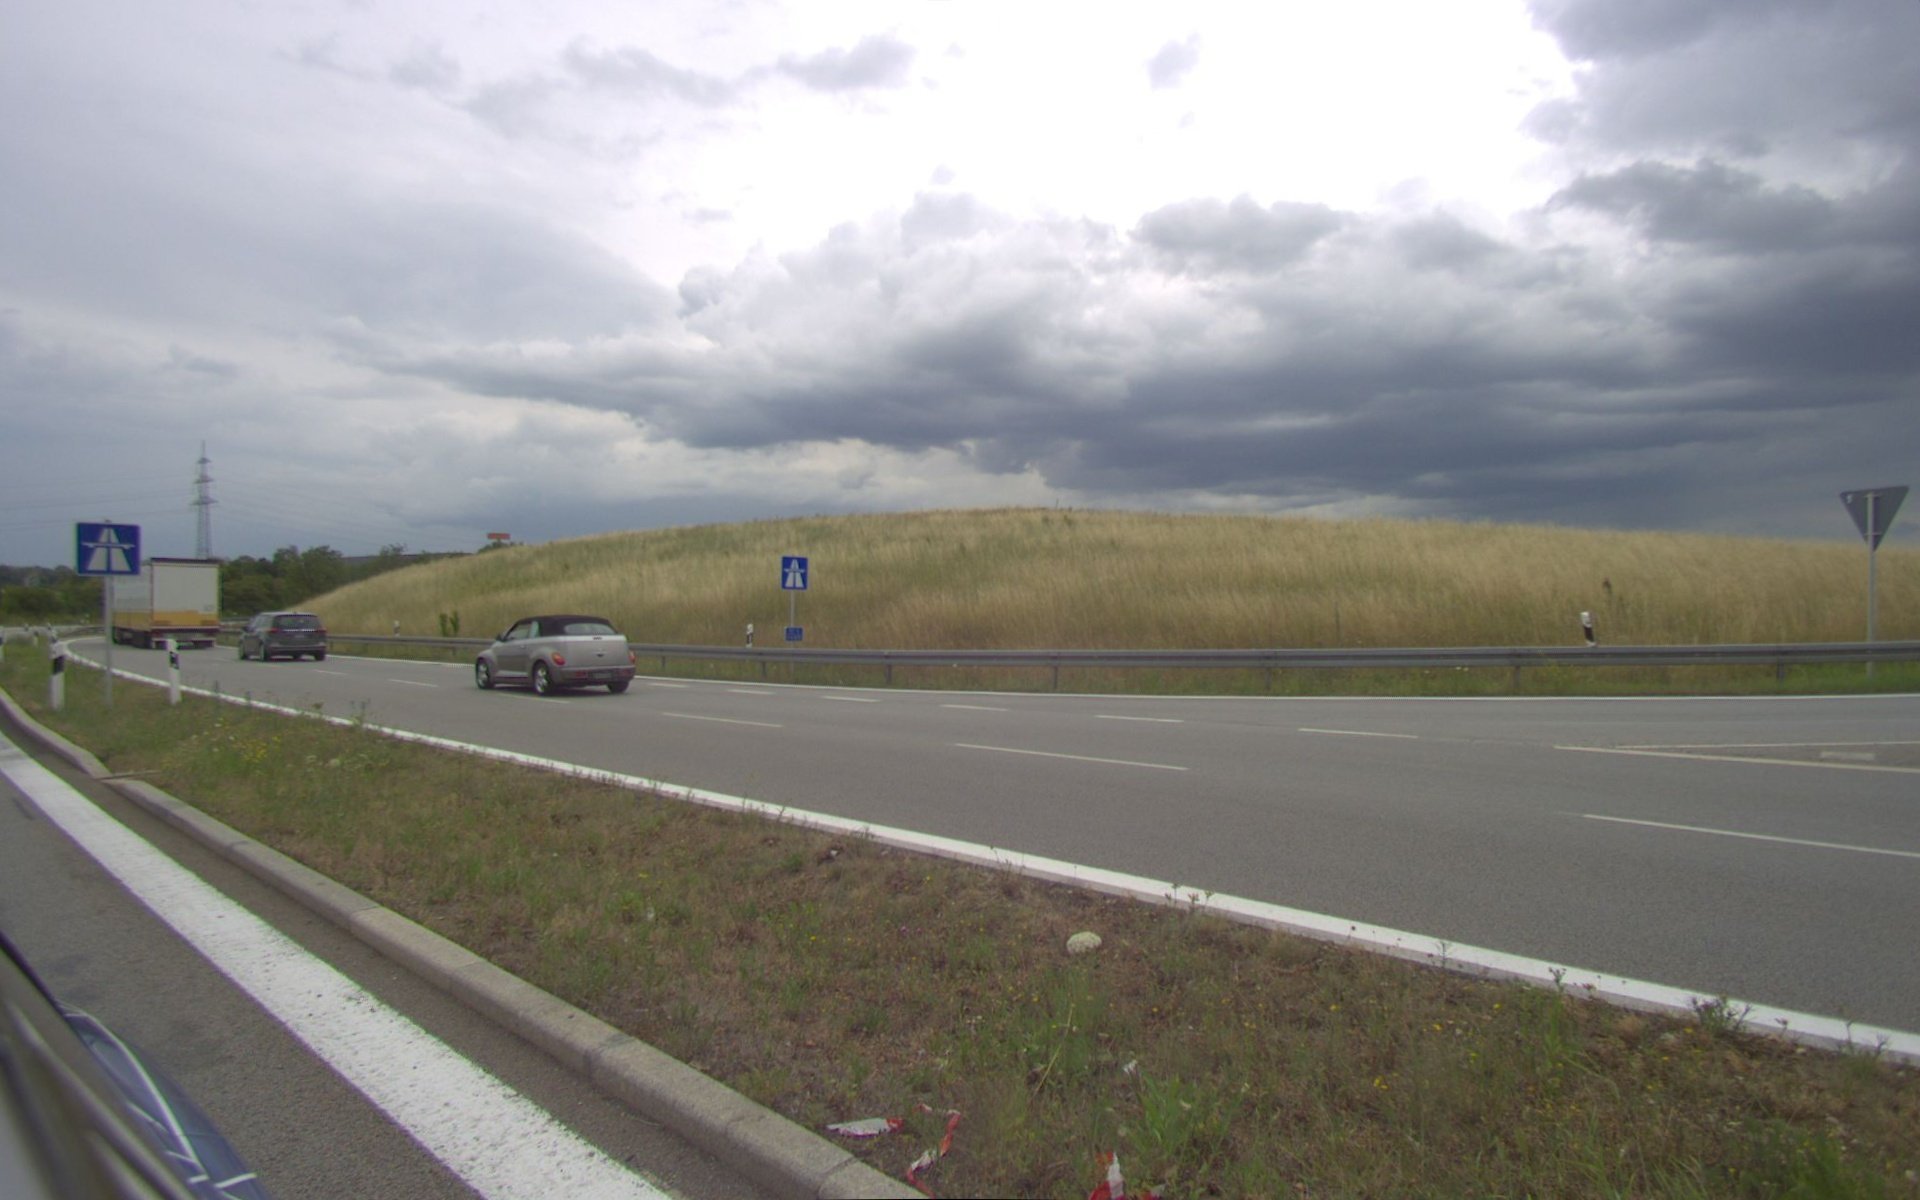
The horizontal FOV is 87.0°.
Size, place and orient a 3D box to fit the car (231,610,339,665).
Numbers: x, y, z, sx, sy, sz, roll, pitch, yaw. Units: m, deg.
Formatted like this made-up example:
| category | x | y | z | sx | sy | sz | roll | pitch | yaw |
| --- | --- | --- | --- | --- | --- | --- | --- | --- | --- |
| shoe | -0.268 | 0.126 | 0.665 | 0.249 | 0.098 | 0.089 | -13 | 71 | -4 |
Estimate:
| category | x | y | z | sx | sy | sz | roll | pitch | yaw |
| --- | --- | --- | --- | --- | --- | --- | --- | --- | --- |
| car | -23.010 | 1.225 | 34.442 | 4.453 | 1.707 | 1.973 | 0 | 0 | 41 |

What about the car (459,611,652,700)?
| category | x | y | z | sx | sy | sz | roll | pitch | yaw |
| --- | --- | --- | --- | --- | --- | --- | --- | --- | --- |
| car | -8.058 | 1.049 | 19.976 | 4.240 | 1.532 | 1.791 | -2 | 0 | 41 |

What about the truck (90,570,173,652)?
| category | x | y | z | sx | sy | sz | roll | pitch | yaw |
| --- | --- | --- | --- | --- | --- | --- | --- | --- | --- |
| truck | -44.721 | 0.543 | 54.547 | 6.403 | 4.172 | 2.621 | 0 | 0 | 43 |

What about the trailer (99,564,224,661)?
| category | x | y | z | sx | sy | sz | roll | pitch | yaw |
| --- | --- | --- | --- | --- | --- | --- | --- | --- | --- |
| trailer | -39.475 | 0.533 | 49.717 | 13.840 | 4.242 | 2.663 | 0 | 0 | 43 |
